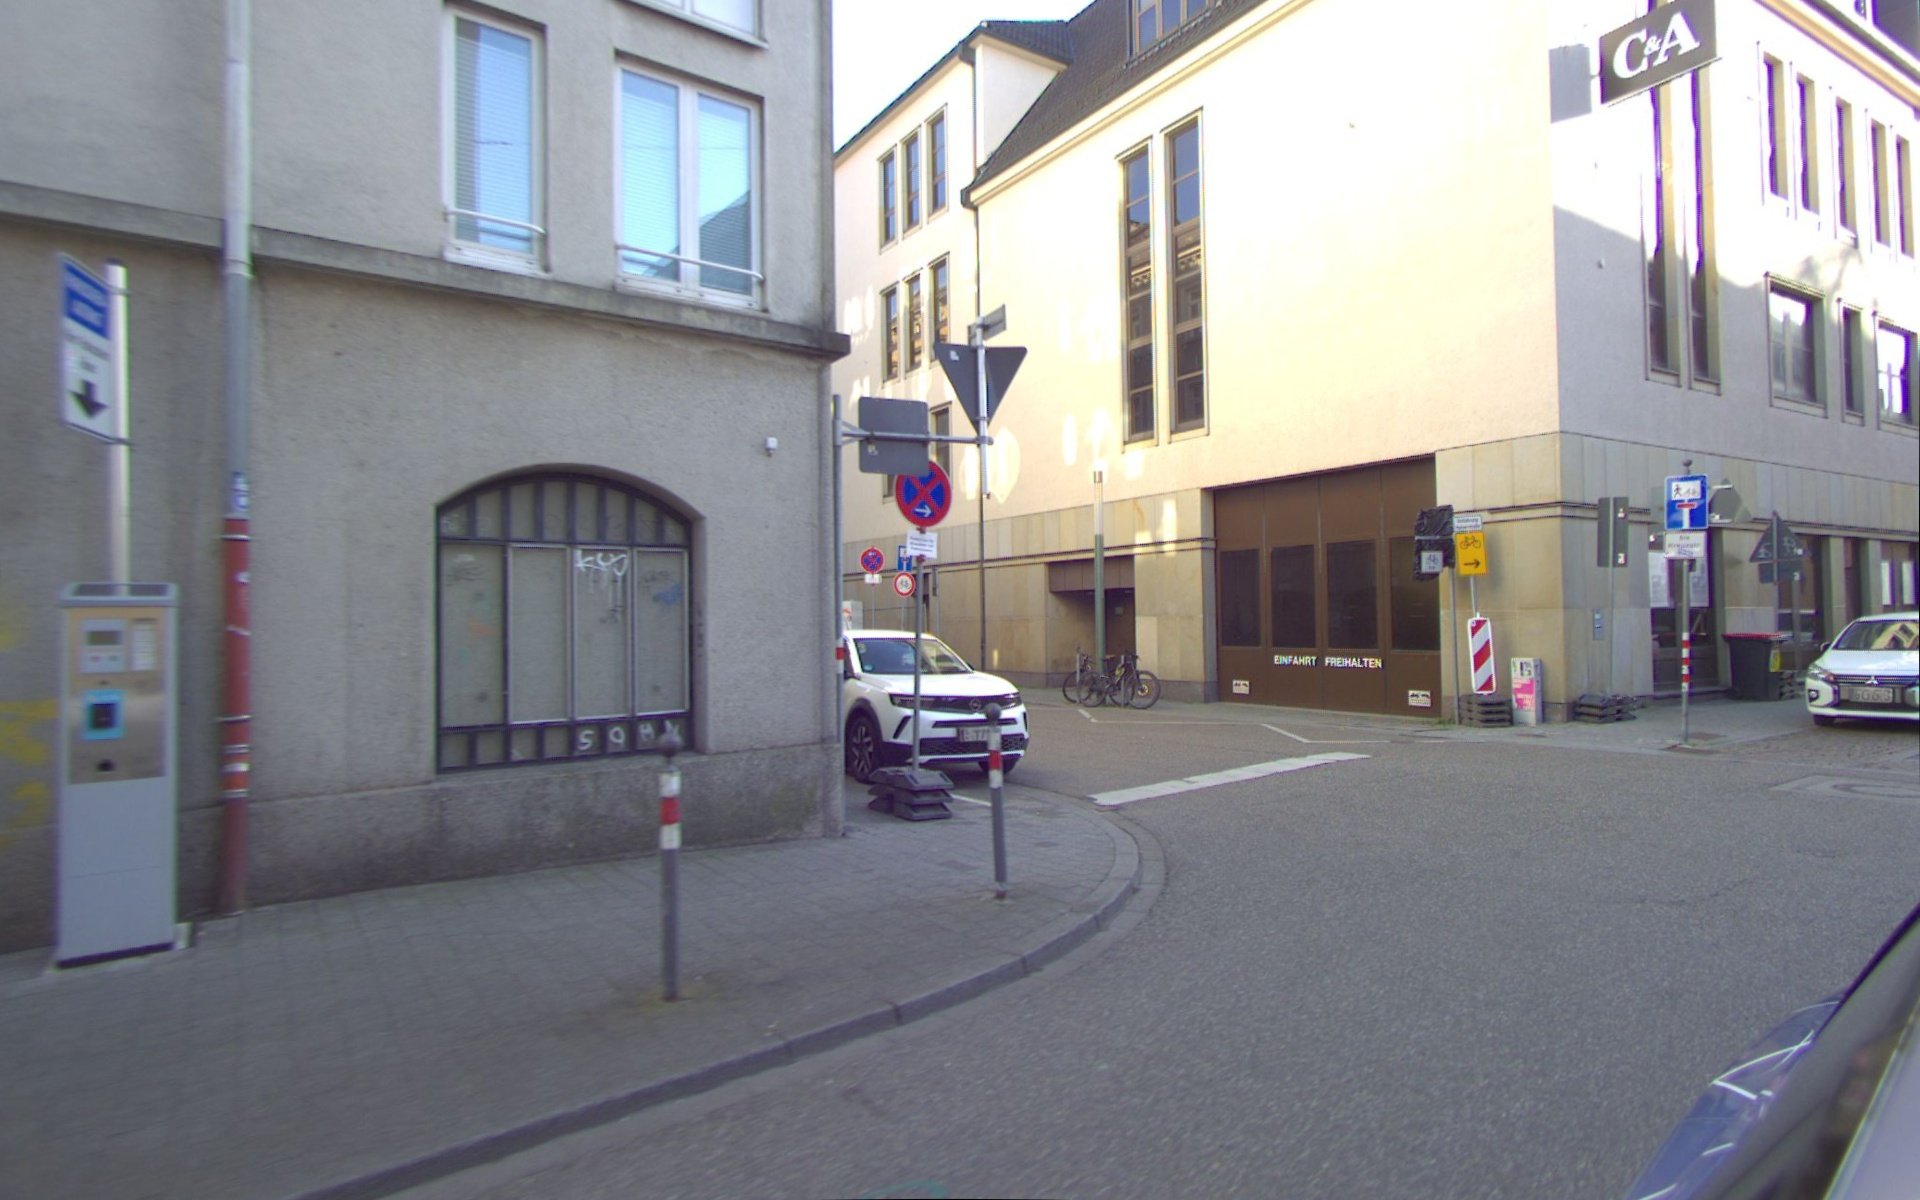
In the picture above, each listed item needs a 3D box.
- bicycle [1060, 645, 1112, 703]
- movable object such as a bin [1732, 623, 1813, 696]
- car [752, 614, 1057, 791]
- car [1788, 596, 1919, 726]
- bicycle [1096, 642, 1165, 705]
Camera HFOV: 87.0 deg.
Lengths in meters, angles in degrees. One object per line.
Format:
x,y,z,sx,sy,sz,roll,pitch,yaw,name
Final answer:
2.367,1.383,19.179,0.460,1.021,1.424,-1,-2,-14,bicycle
12.855,0.933,16.015,0.911,1.100,0.688,0,-3,-32,movable object such as a bin
-0.829,1.002,11.432,1.732,1.588,4.084,0,-2,-31,car
12.994,0.746,13.627,3.923,1.568,1.736,0,-3,-34,car
3.101,1.328,18.572,0.477,1.088,1.654,0,-2,-19,bicycle
